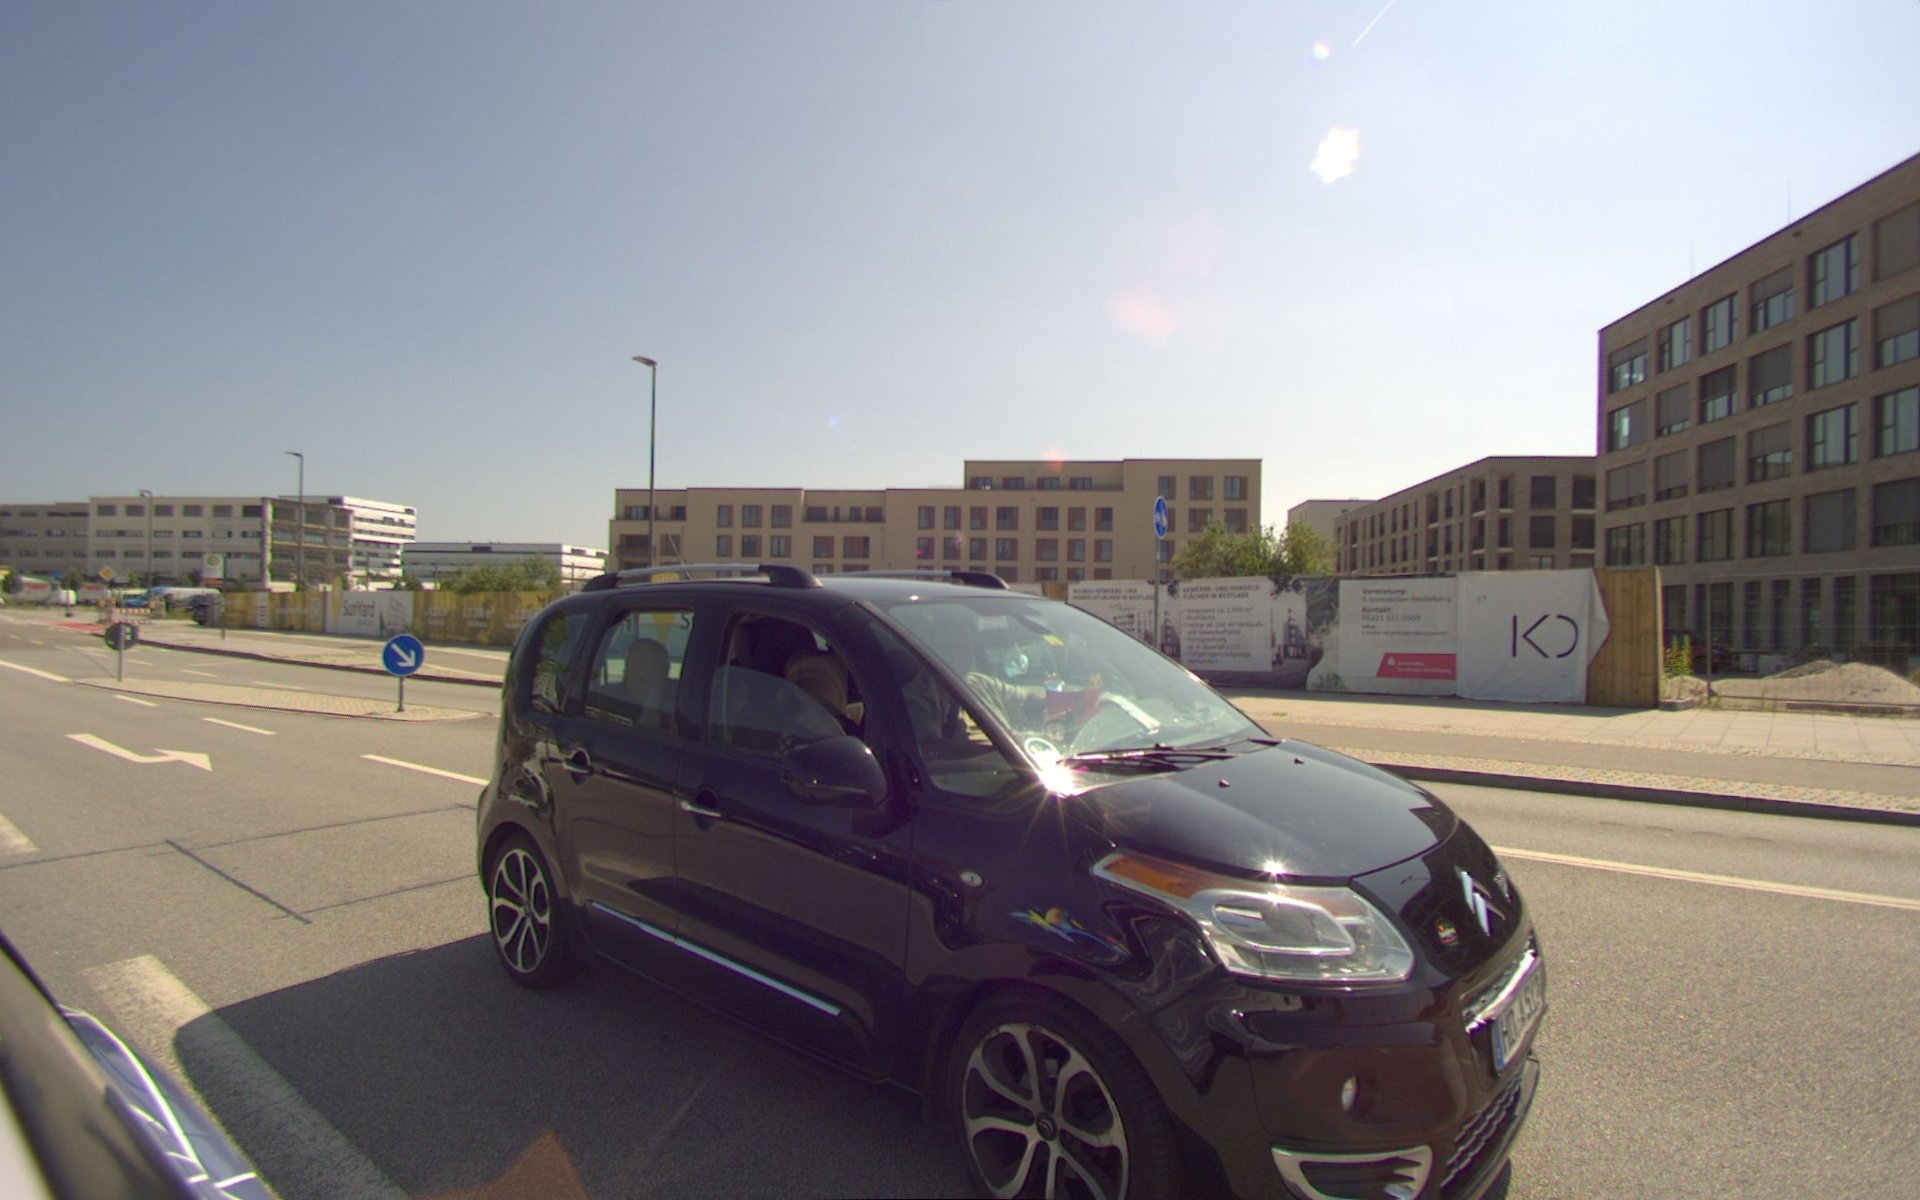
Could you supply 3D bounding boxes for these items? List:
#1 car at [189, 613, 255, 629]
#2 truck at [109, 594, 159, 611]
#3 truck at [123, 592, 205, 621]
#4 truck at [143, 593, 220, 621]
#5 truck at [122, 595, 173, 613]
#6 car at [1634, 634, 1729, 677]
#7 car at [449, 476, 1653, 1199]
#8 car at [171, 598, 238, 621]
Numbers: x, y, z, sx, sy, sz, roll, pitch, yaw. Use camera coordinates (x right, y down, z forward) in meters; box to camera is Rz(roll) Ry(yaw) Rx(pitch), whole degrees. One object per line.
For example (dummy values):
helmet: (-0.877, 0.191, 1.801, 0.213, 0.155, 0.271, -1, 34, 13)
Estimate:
car: (-48.394, 1.374, 66.396, 1.293, 0.960, 3.315, 0, 1, 43)
truck: (-120.311, 0.365, 147.520, 1.998, 2.494, 5.346, 0, 0, 38)
truck: (-72.528, 0.557, 92.299, 1.996, 2.494, 5.567, 0, 0, 36)
truck: (-67.139, 0.583, 87.303, 1.998, 2.245, 4.943, 0, 0, 39)
truck: (-114.308, 0.548, 142.421, 1.996, 2.494, 5.270, 0, 0, 36)
car: (31.981, 2.419, 45.002, 1.814, 1.666, 3.772, -1, 0, 7)
car: (-0.029, 0.612, 3.559, 3.914, 1.634, 1.785, 0, 1, 41)
car: (-60.176, 0.748, 80.684, 1.888, 1.731, 3.885, 0, 0, 35)
